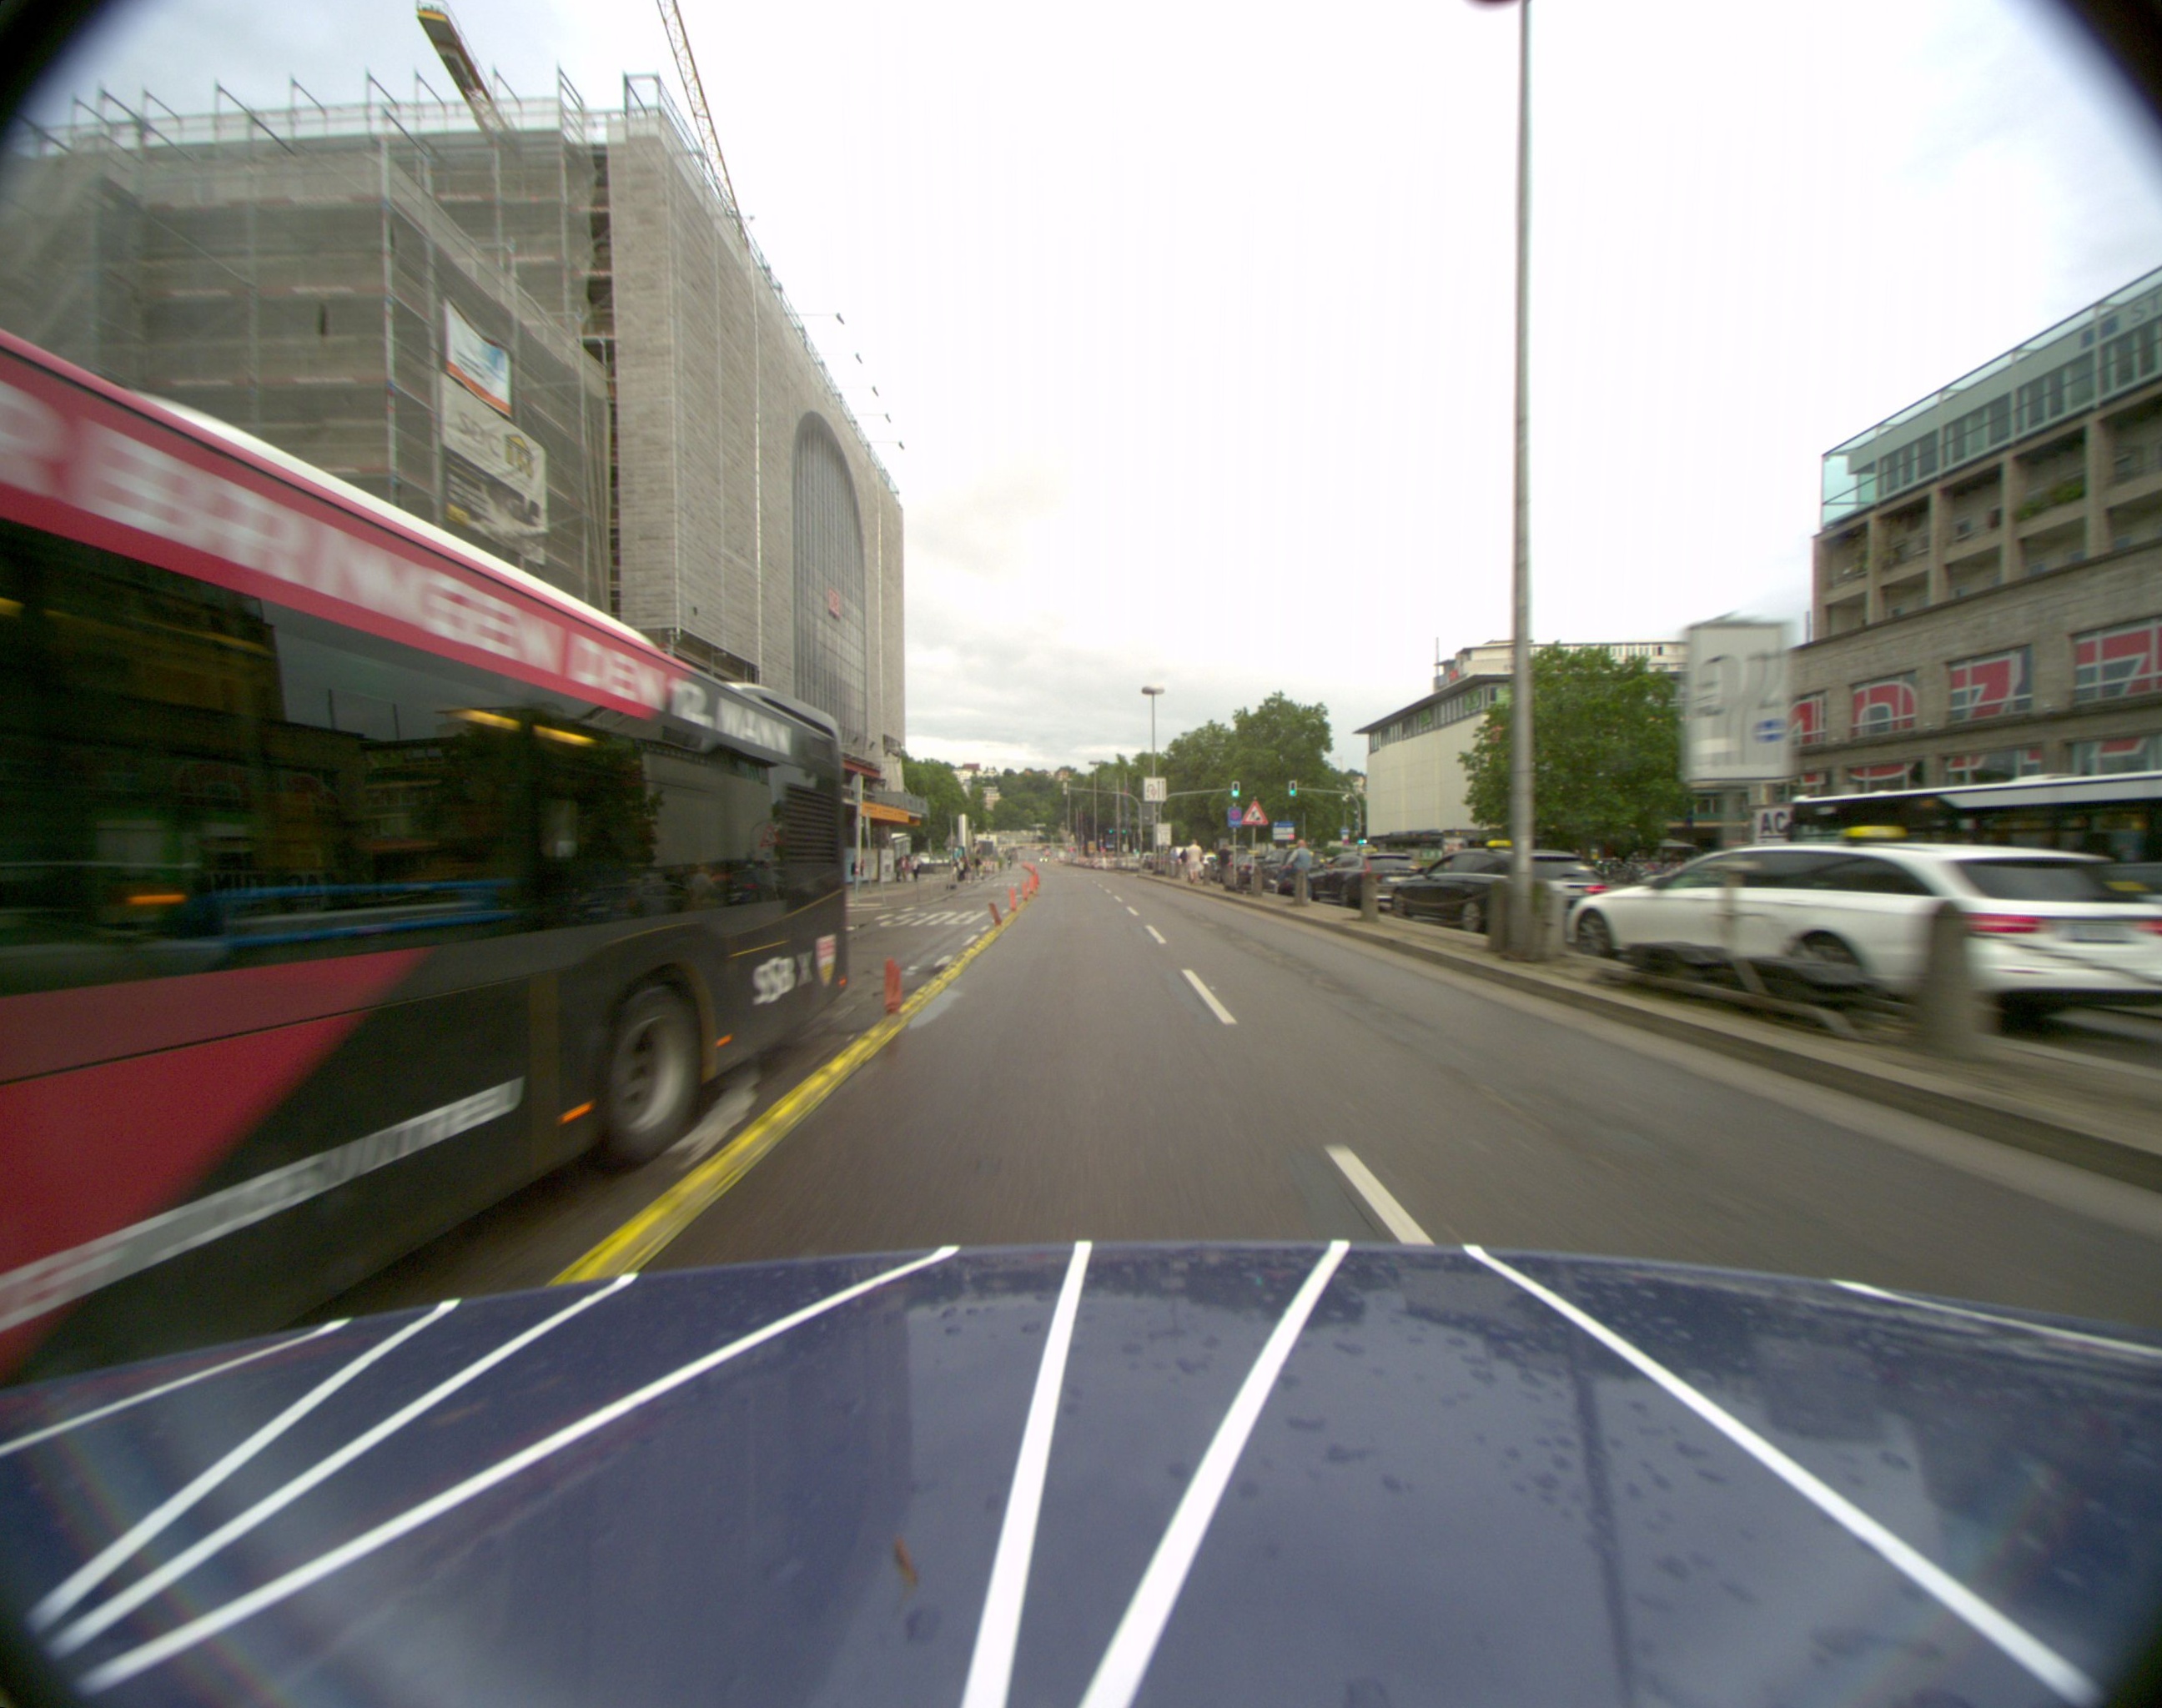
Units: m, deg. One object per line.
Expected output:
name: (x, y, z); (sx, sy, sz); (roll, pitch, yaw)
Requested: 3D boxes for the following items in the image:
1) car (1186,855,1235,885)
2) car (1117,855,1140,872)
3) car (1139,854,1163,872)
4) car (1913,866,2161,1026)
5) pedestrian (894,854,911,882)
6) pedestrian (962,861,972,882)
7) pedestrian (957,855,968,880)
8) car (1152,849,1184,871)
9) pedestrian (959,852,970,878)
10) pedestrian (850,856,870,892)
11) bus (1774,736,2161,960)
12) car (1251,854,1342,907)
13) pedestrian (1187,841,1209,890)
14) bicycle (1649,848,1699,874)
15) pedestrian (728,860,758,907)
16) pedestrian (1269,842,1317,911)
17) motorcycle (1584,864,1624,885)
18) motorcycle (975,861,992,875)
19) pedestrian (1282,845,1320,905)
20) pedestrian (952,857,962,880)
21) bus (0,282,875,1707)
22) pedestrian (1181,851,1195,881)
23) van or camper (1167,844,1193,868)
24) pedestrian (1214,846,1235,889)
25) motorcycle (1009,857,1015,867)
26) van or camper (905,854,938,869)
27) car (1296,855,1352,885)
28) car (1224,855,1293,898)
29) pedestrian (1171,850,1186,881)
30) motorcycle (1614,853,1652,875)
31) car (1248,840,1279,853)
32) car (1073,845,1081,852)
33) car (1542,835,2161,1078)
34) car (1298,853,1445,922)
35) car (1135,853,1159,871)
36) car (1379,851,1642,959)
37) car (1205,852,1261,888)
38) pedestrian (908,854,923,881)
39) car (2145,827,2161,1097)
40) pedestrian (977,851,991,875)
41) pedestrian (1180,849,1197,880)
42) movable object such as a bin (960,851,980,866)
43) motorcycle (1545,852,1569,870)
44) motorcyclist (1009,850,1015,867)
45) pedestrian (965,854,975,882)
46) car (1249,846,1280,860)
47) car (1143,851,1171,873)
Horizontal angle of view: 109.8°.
car: (7.491, 0.890, 44.427); (2.020, 1.611, 4.842); (-1, 0, 1)
car: (5.167, 1.021, 83.145); (1.999, 1.806, 4.810); (-1, 0, -2)
car: (7.006, 0.869, 76.547); (1.788, 1.712, 4.482); (-1, 0, -2)
car: (14.043, 1.132, 9.815); (1.999, 1.818, 4.119); (-3, 0, -1)
pedestrian: (-11.253, 0.871, 47.978); (0.734, 1.672, 1.110); (-1, 1, 3)
pedestrian: (-8.099, 1.250, 54.044); (0.559, 1.441, 0.711); (1, 1, 2)
pedestrian: (-7.944, 0.904, 51.024); (0.559, 1.631, 0.752); (1, 1, 2)
car: (7.295, 0.522, 64.132); (1.908, 1.689, 4.499); (-3, 0, -2)
pedestrian: (-8.006, 0.768, 52.226); (0.559, 1.742, 0.711); (1, 1, 2)
pedestrian: (-10.005, 0.901, 34.434); (0.550, 1.623, 0.995); (1, 1, 1)
bus: (17.708, -0.117, 12.632); (2.884, 3.357, 10.574); (-1, 0, 1)
car: (7.539, 0.864, 27.089); (1.934, 1.681, 4.681); (0, 1, 0)
pedestrian: (4.874, 0.472, 31.729); (0.724, 1.996, 0.772); (-3, 1, 1)
bicycle: (29.157, 0.351, 37.391); (2.095, 1.174, 0.596); (-3, 0, -7)
pedestrian: (-11.220, 0.973, 25.247); (0.653, 1.531, 0.665); (1, 1, 2)
pedestrian: (5.559, 0.568, 19.911); (1.053, 1.758, 0.616); (-1, 1, 0)
motorcycle: (29.167, 1.139, 42.393); (1.813, 1.127, 0.583); (-2, 1, 2)
motorcycle: (-7.070, 1.007, 55.160); (0.587, 1.015, 1.236); (-2, 1, -42)
pedestrian: (6.145, 0.570, 21.257); (0.724, 1.597, 0.996); (-3, 0, 0)
pedestrian: (-8.866, 1.009, 54.348); (0.565, 1.641, 0.615); (1, 1, 5)
bus: (-3.581, 0.354, 2.951); (2.762, 3.051, 9.079); (-3, 1, 1)
pedestrian: (6.169, 0.687, 43.958); (0.653, 1.701, 0.593); (-3, 0, -1)
van or camper: (10.943, 0.174, 84.035); (1.999, 2.499, 5.369); (1, 0, -1)
pedestrian: (5.896, 0.552, 31.213); (0.700, 1.744, 0.711); (-2, 1, 1)
motorcycle: (-8.506, 0.976, 93.481); (0.730, 1.221, 2.160); (-1, -1, -6)
van or camper: (-27.387, 1.328, 130.265); (6.046, 2.387, 2.391); (-1, -1, 44)
car: (15.036, 0.945, 47.268); (1.934, 1.681, 4.681); (0, 1, 0)
car: (7.660, 0.908, 33.229); (1.934, 1.681, 4.681); (0, 1, 0)
pedestrian: (5.722, 0.672, 44.726); (0.558, 1.765, 0.753); (2, 1, 34)
motorcycle: (29.294, 0.513, 40.313); (1.713, 1.051, 0.582); (-3, 0, -12)
car: (32.369, -1.349, 134.882); (4.830, 2.002, 2.036); (-3, 0, 2)
car: (-0.835, -1.157, 173.369); (1.682, 1.533, 3.174); (-1, -1, 1)
car: (7.273, 0.667, 7.738); (1.981, 1.650, 5.191); (0, 1, 0)
car: (7.583, 0.790, 20.489); (1.934, 1.567, 5.260); (0, 1, 0)
car: (7.206, 0.866, 83.190); (1.920, 1.840, 4.565); (-1, 0, -3)
car: (7.401, 0.756, 13.871); (1.934, 1.567, 5.011); (0, 1, 0)
car: (7.683, 0.740, 38.813); (1.934, 1.681, 4.681); (0, 1, 0)
pedestrian: (-10.439, 0.826, 48.005); (0.738, 1.668, 0.957); (1, 1, 0)
car: (7.255, 0.657, 1.947); (1.934, 1.567, 5.051); (0, 1, 0)
pedestrian: (-7.070, 0.652, 55.144); (0.582, 1.731, 0.820); (-2, 1, -42)
pedestrian: (6.188, 0.588, 43.867); (0.784, 1.765, 0.606); (1, 1, -11)
movable object such as a bin: (-11.065, 0.423, 75.885); (1.299, 1.483, 1.536); (0, 1, 29)
motorcycle: (29.051, 0.403, 46.357); (0.582, 1.051, 1.625); (-3, 0, 8)
motorcyclist: (-8.511, 0.557, 93.549); (0.726, 2.024, 0.587); (-1, 0, -6)
pedestrian: (-7.250, 0.912, 49.492); (0.560, 1.749, 0.751); (1, 1, -13)
car: (25.737, -0.116, 106.470); (3.735, 1.534, 1.855); (-5, 2, 37)
car: (7.008, 0.737, 70.500); (1.908, 1.887, 4.522); (-3, 0, -2)
